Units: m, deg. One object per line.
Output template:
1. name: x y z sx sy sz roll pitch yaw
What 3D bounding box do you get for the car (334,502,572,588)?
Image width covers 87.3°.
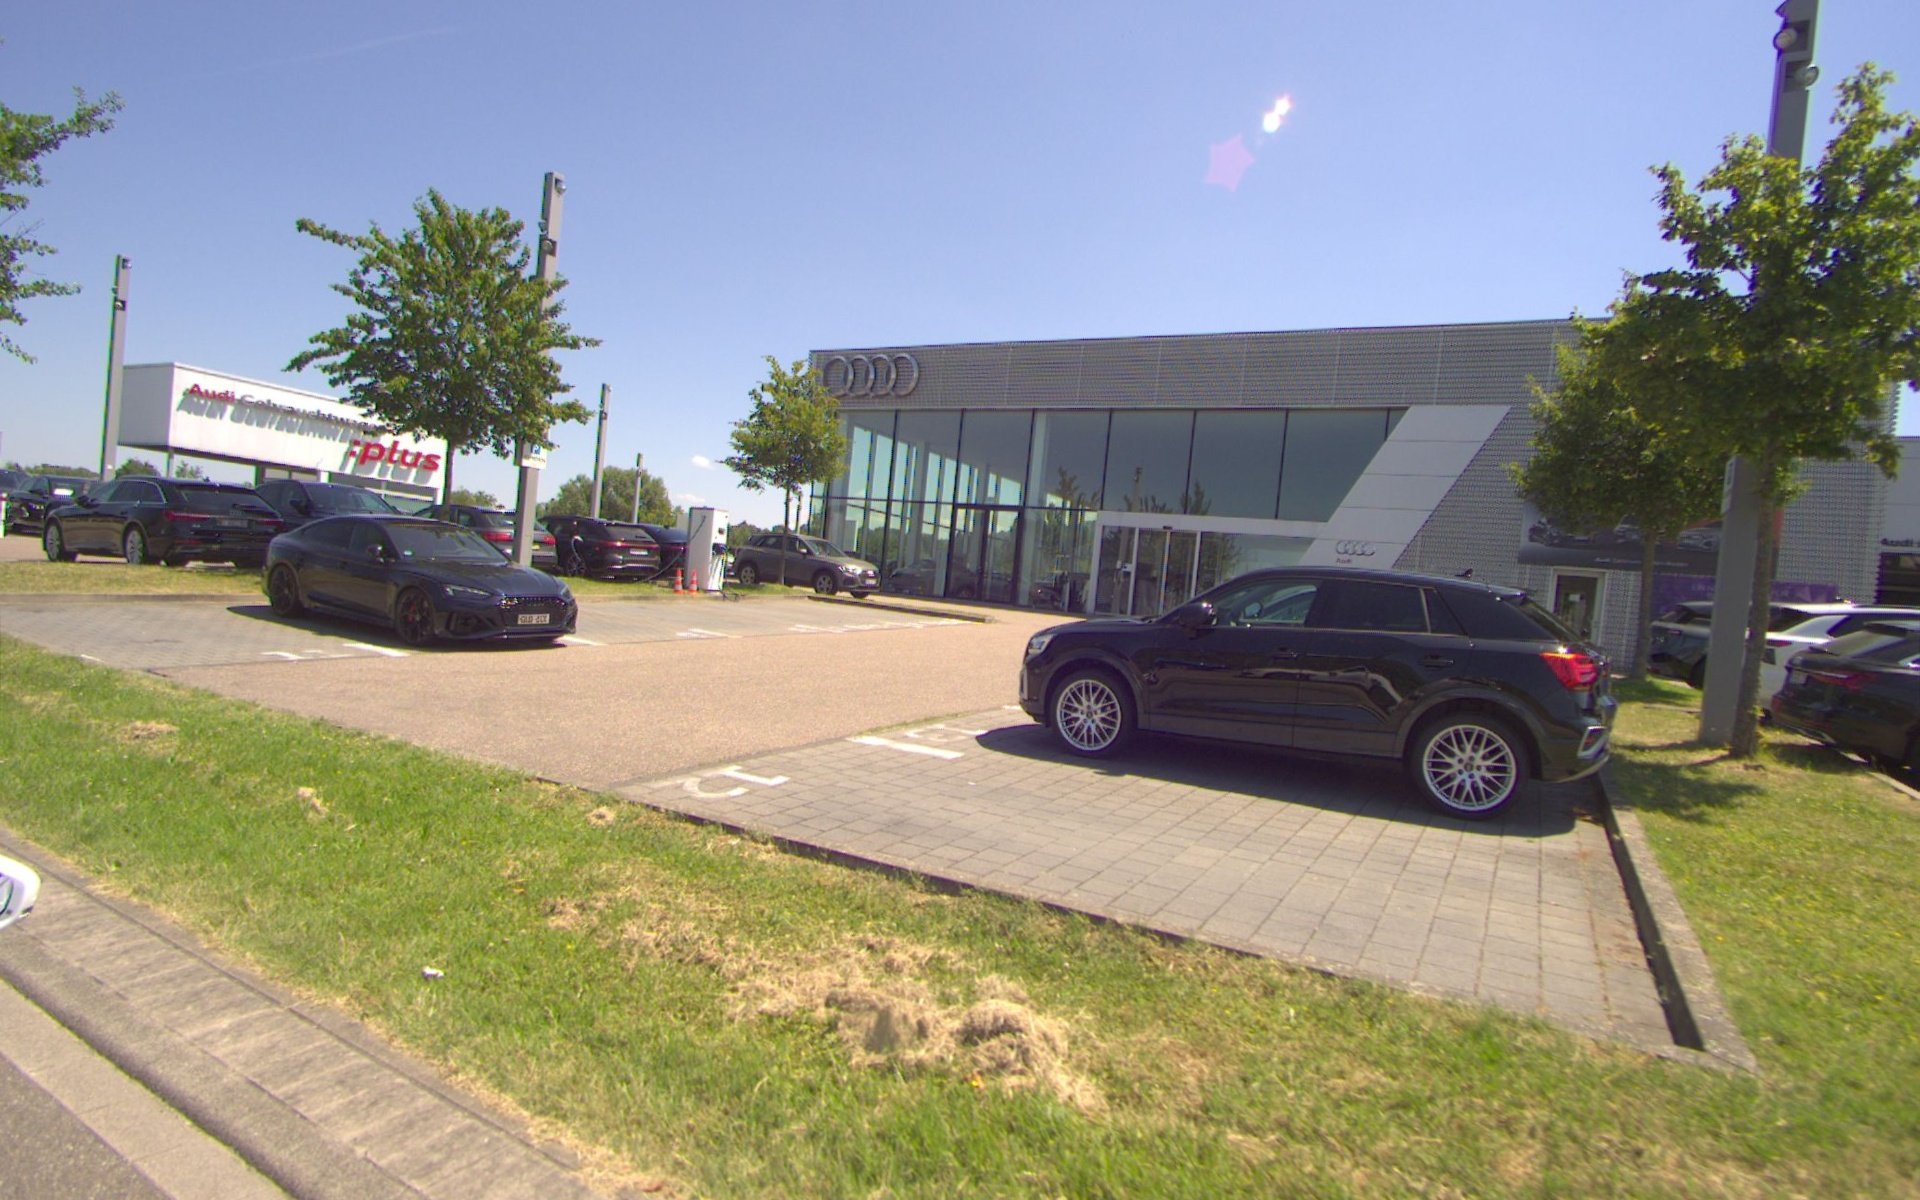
1. car: -10.476 -1.144 20.683 4.902 1.476 1.962 4 1 30

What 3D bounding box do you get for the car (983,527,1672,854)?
1. car: 2.486 0.433 7.401 4.155 1.593 1.887 6 4 29

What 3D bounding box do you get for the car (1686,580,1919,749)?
1. car: 10.867 0.793 11.140 4.215 1.635 1.962 6 3 29

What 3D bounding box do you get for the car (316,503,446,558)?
1. car: -21.490 -2.572 37.294 4.698 1.611 2.026 6 2 30

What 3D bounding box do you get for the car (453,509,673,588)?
1. car: -9.005 -1.172 22.704 4.902 1.476 1.962 4 1 30

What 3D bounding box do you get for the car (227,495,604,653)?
1. car: -6.840 -0.390 12.520 4.640 1.386 1.961 7 4 30

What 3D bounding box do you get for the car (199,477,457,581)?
1. car: -11.748 -1.329 18.618 4.902 1.619 1.962 4 1 30

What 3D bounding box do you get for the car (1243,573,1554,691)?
1. car: 7.187 0.435 16.664 4.390 1.386 1.961 6 4 29

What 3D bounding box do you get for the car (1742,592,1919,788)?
1. car: 9.976 0.953 8.501 4.920 1.574 1.962 6 3 29

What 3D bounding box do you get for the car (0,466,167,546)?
1. car: -21.757 -2.340 24.587 5.383 1.595 1.896 6 4 30

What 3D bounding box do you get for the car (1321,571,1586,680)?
1. car: 9.637 0.416 19.772 4.354 1.614 1.960 6 4 32

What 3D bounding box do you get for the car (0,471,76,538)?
1. car: -26.379 -2.699 27.415 4.698 1.611 2.026 6 2 30

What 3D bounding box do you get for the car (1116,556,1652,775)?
1. car: 3.827 0.450 9.497 4.155 1.386 1.961 6 4 29

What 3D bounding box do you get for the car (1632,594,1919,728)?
1. car: 14.255 1.004 16.876 4.648 1.763 1.962 6 3 29

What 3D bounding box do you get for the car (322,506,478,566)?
1. car: -17.816 -2.044 31.931 4.992 1.476 2.026 6 2 30

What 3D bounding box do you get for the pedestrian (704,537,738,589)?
1. pedestrian: -8.632 -1.330 36.364 0.733 1.799 0.770 6 2 35

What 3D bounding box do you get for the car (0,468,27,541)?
1. car: -22.854 -2.266 22.124 5.151 1.536 2.024 6 4 30

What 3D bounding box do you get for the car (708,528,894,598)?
1. car: -4.434 -1.036 27.828 4.902 1.642 1.962 4 1 30

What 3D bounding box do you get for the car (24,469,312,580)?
1. car: -12.865 -1.226 16.264 4.902 1.476 1.962 4 1 30
